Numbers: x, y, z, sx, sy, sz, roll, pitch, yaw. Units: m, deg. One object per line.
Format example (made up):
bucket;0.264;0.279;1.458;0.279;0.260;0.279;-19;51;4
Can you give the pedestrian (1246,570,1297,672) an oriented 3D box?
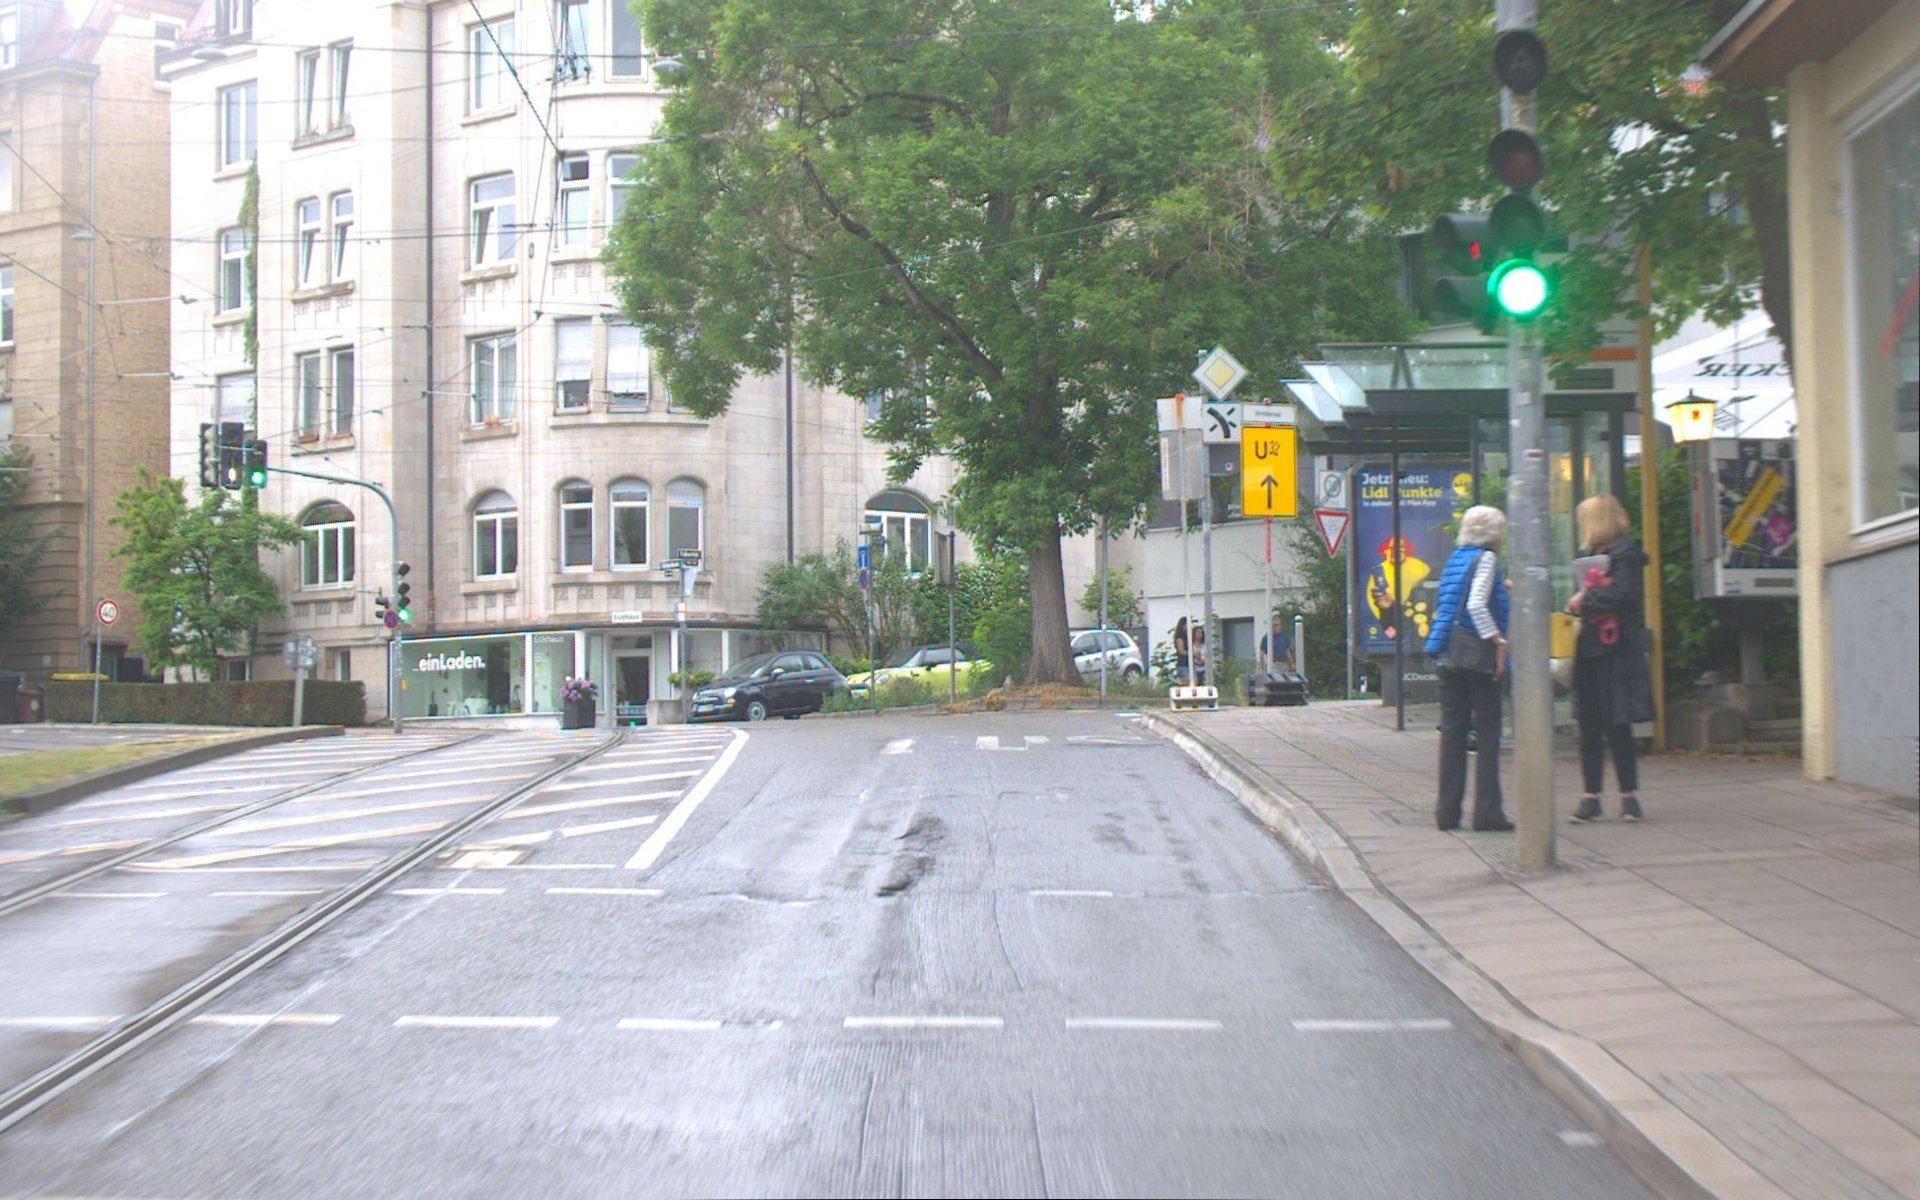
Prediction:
pedestrian;5.044;0.337;55.660;0.544;1.624;0.602;0;2;-33

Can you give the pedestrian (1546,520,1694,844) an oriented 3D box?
pedestrian;3.254;0.394;16.987;0.545;1.548;0.559;-3;2;-2

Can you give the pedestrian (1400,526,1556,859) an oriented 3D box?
pedestrian;2.500;0.434;16.631;0.588;1.548;0.650;-3;2;0

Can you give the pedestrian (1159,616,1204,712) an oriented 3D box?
pedestrian;3.657;1.056;56.743;0.599;1.560;0.546;1;1;-10

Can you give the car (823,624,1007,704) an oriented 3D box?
car;-0.955;1.358;73.820;3.660;1.503;1.737;-3;1;-41

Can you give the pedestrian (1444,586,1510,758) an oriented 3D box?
pedestrian;3.546;0.489;23.602;0.325;1.146;0.318;-4;2;-3

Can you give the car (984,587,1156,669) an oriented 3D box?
car;2.481;0.617;76.925;1.622;1.502;3.764;-5;0;44

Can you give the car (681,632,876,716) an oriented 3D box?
car;-3.723;1.512;70.700;3.660;1.503;1.737;-3;1;-41
